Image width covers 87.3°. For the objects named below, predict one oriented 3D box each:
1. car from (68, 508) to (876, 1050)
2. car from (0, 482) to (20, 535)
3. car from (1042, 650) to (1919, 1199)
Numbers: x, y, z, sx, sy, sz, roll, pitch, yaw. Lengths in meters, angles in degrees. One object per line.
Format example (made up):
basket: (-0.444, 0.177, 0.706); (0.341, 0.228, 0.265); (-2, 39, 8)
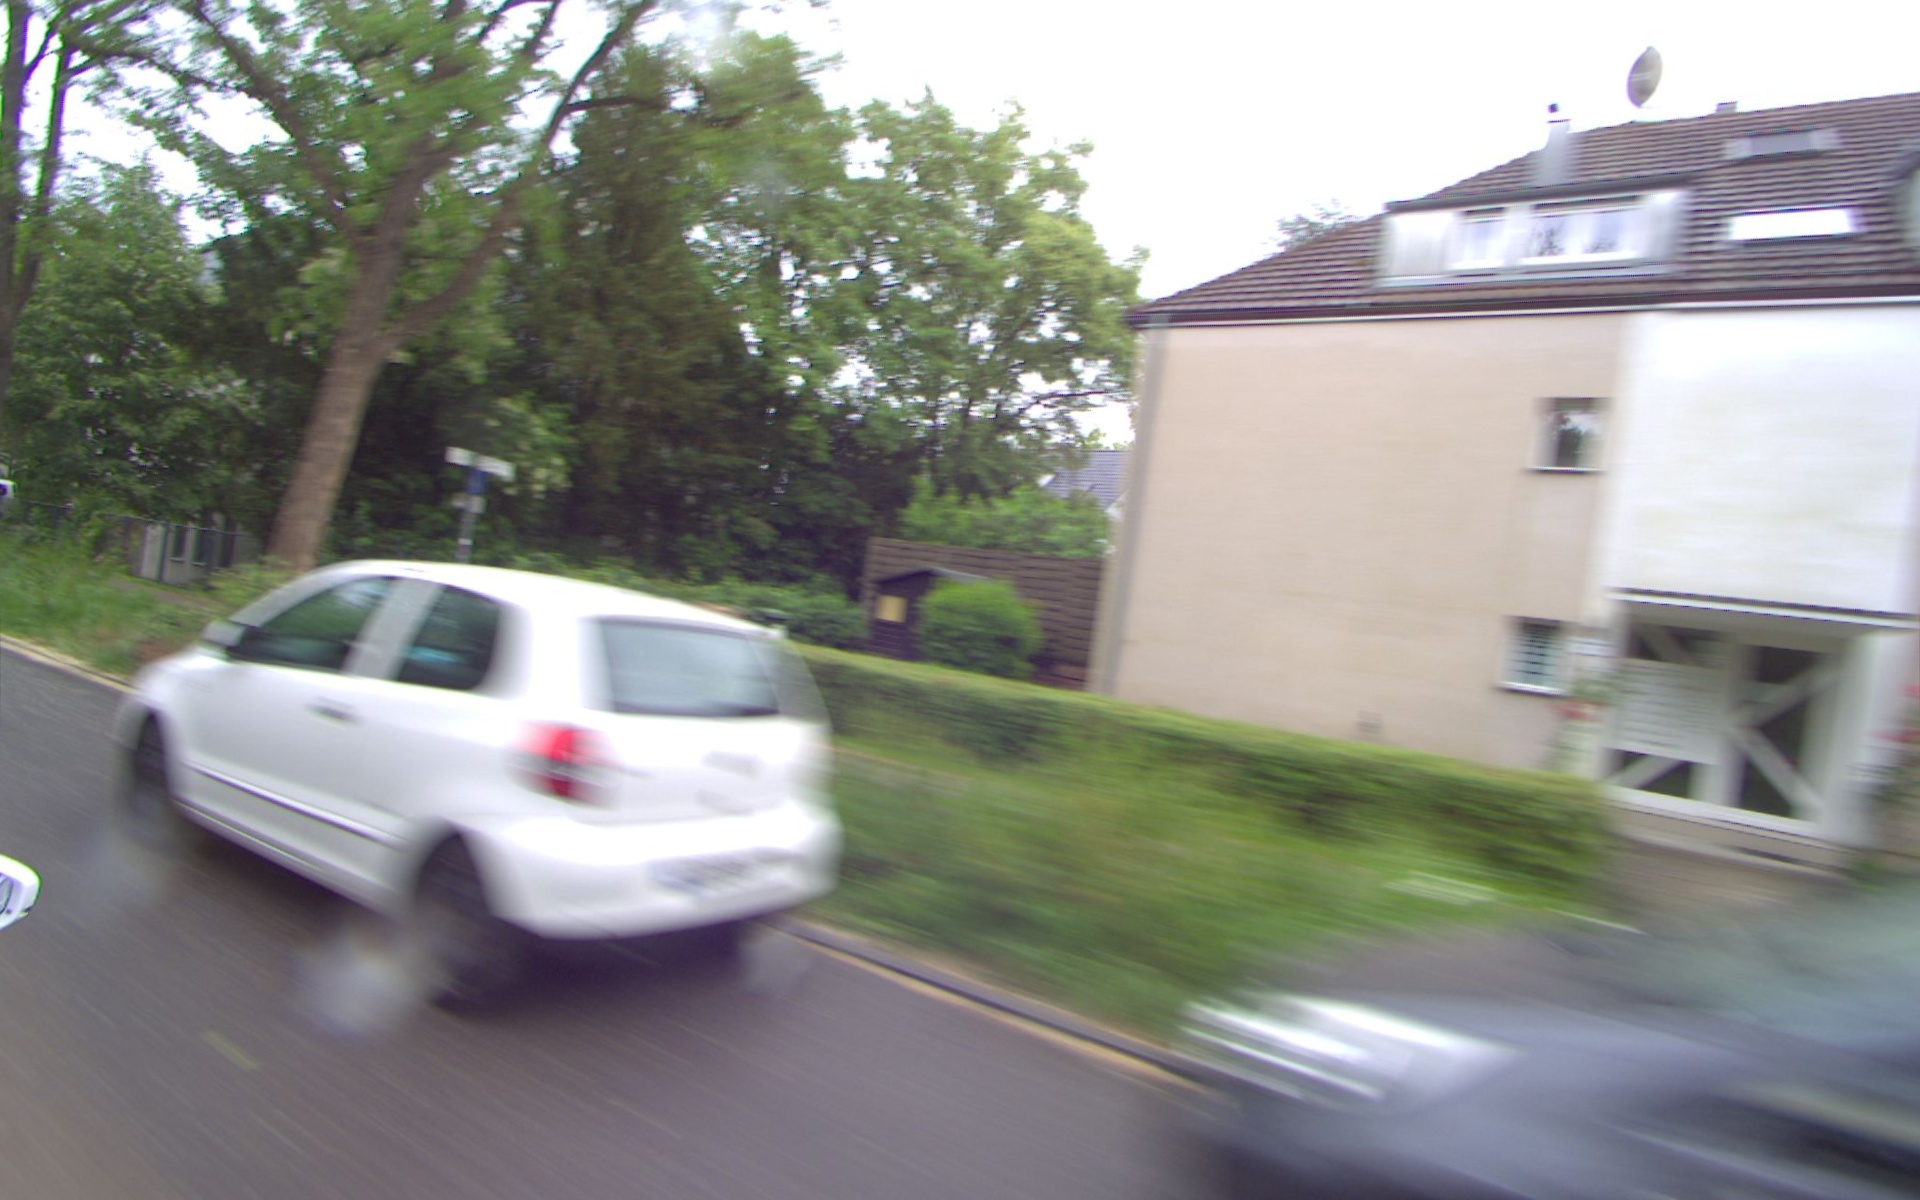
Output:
car: (-2.430, 0.549, 4.757); (3.703, 1.488, 1.575); (7, -3, 32)
car: (-36.927, -3.671, 36.192); (1.849, 1.838, 4.301); (7, -2, 42)
car: (2.262, 1.130, 1.721); (3.881, 1.487, 1.620); (7, -3, 34)
